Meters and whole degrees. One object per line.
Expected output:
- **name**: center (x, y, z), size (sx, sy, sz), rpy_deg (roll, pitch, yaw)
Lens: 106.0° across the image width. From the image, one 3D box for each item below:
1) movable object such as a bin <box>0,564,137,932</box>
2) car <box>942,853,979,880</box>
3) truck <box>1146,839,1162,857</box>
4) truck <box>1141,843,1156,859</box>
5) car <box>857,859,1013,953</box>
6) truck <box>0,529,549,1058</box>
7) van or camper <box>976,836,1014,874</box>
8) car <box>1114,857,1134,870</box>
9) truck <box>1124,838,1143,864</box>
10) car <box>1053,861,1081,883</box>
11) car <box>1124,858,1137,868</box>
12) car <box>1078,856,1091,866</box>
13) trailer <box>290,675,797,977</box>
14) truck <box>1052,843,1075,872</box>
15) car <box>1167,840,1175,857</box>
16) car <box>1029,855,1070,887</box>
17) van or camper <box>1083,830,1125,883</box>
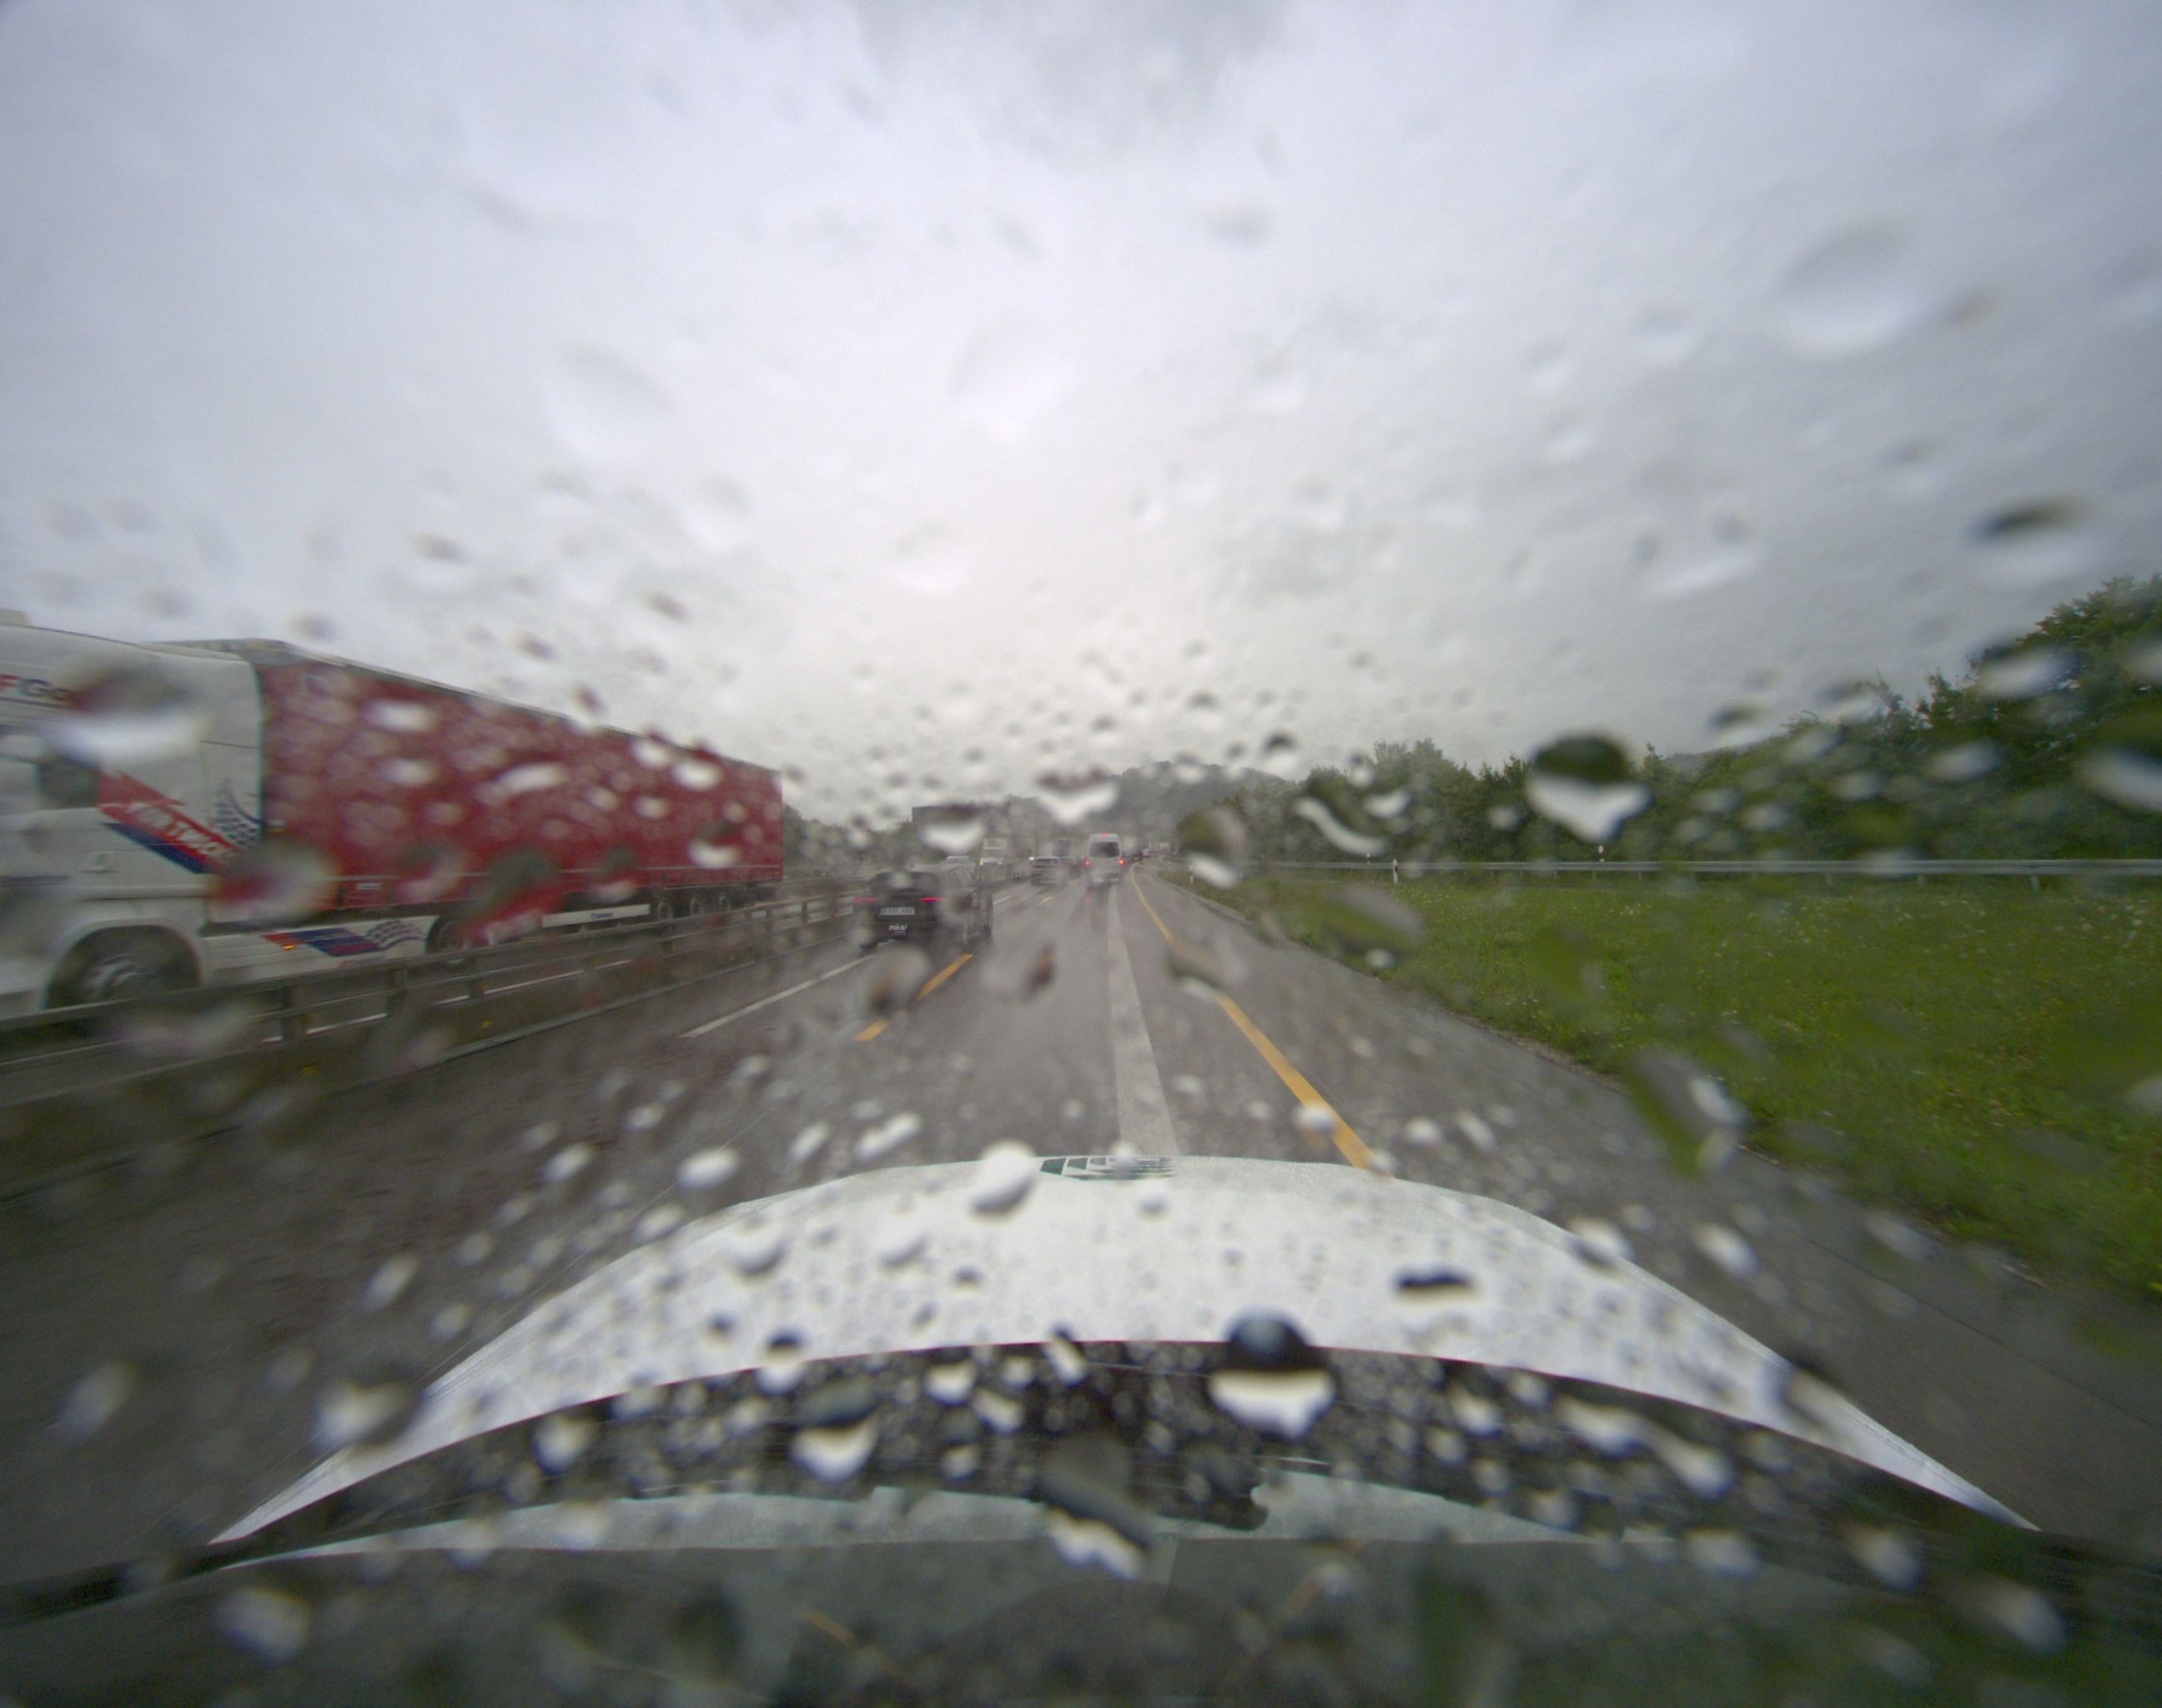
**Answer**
- **movable object such as a bin**: center (-25.781, -2.368, 16.331), size (3.581, 8.144, 8.314), rpy_deg (0, -1, 3)
- **car**: center (-7.771, 0.807, 52.869), size (1.630, 1.668, 4.545), rpy_deg (0, -1, 2)
- **truck**: center (20.113, -1.604, 225.077), size (3.907, 4.785, 9.927), rpy_deg (0, -1, 8)
- **truck**: center (16.523, -0.789, 200.102), size (3.306, 3.762, 9.914), rpy_deg (0, -1, 3)
- **car**: center (-2.449, 0.817, 14.956), size (1.932, 1.427, 4.760), rpy_deg (0, 0, 1)
- **truck**: center (-10.100, -0.430, 9.522), size (2.996, 4.272, 6.803), rpy_deg (-2, -1, 2)
- **van or camper**: center (-7.197, 0.087, 68.716), size (2.285, 3.041, 6.701), rpy_deg (0, -1, 2)
- **car**: center (3.839, 0.833, 73.142), size (1.381, 1.078, 3.118), rpy_deg (-1, 0, -3)
- **truck**: center (9.676, -0.490, 149.847), size (3.306, 4.785, 9.914), rpy_deg (0, -1, 3)
- **car**: center (-1.021, 1.331, 61.370), size (1.845, 1.500, 4.002), rpy_deg (-1, 0, 2)
- **car**: center (6.258, 1.130, 103.067), size (1.380, 1.256, 3.121), rpy_deg (-1, 0, -1)
- **car**: center (0.391, 0.719, 83.986), size (1.258, 1.078, 3.255), rpy_deg (-1, 0, 2)
- **trailer**: center (-9.780, -0.372, 17.389), size (2.964, 4.295, 11.066), rpy_deg (-2, -1, 3)
- **truck**: center (-2.680, 0.490, 124.381), size (2.876, 4.232, 6.331), rpy_deg (-2, -1, 3)
- **car**: center (23.921, -1.426, 217.063), size (2.048, 4.192, 6.756), rpy_deg (-1, 0, 5)
- **car**: center (-1.668, 0.888, 44.411), size (1.859, 1.659, 3.991), rpy_deg (-1, 0, 3)
- **van or camper**: center (1.341, 0.127, 44.563), size (2.130, 2.721, 4.651), rpy_deg (-1, 0, 3)
